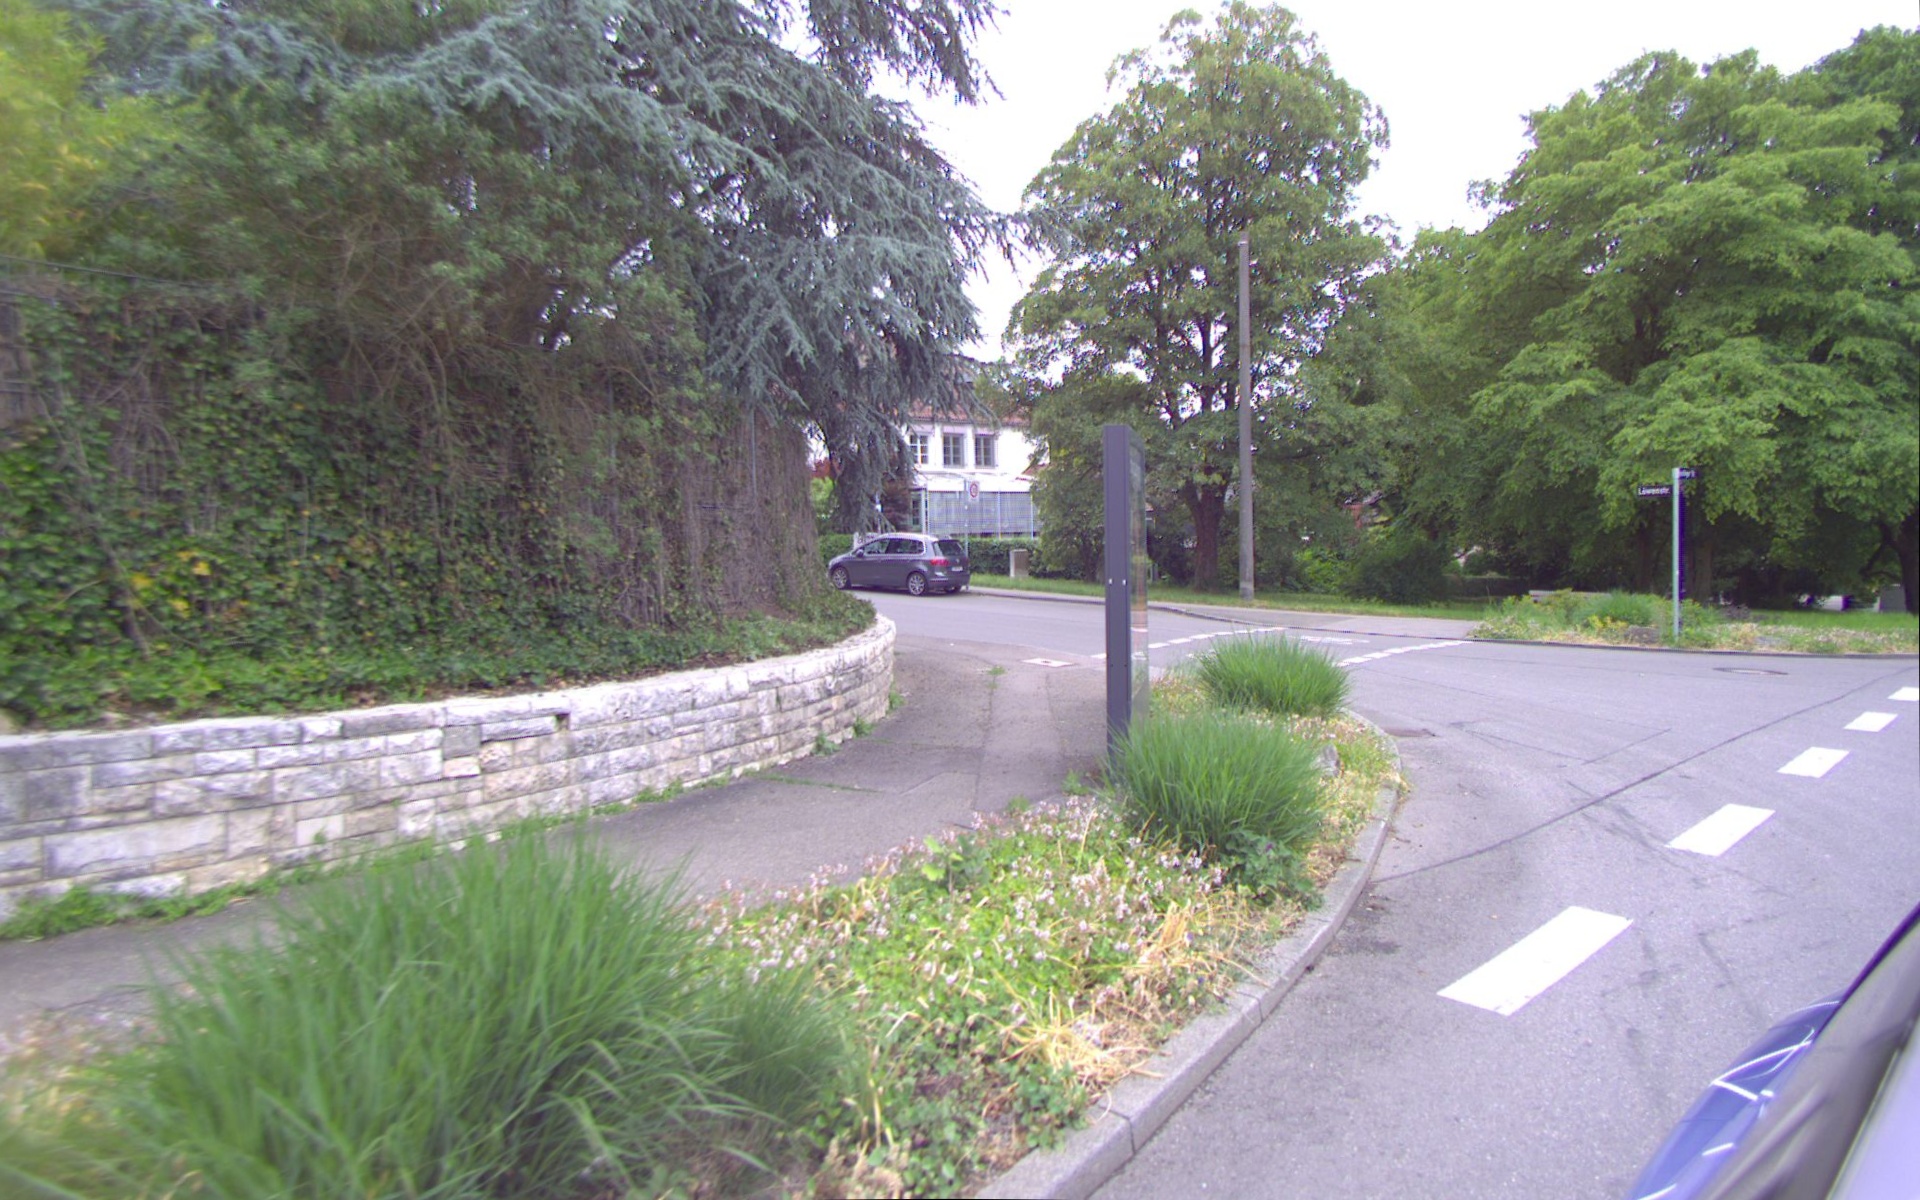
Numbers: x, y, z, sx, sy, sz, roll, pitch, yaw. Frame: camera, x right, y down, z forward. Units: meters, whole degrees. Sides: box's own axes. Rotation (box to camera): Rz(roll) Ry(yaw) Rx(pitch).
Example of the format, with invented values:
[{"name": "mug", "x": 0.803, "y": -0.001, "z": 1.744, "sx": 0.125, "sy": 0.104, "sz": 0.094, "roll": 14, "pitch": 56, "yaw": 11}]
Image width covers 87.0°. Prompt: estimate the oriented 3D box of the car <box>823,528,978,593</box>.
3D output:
[{"name": "car", "x": -1.636, "y": -1.121, "z": 27.277, "sx": 3.977, "sy": 1.554, "sz": 1.800, "roll": 4, "pitch": 6, "yaw": 36}]
